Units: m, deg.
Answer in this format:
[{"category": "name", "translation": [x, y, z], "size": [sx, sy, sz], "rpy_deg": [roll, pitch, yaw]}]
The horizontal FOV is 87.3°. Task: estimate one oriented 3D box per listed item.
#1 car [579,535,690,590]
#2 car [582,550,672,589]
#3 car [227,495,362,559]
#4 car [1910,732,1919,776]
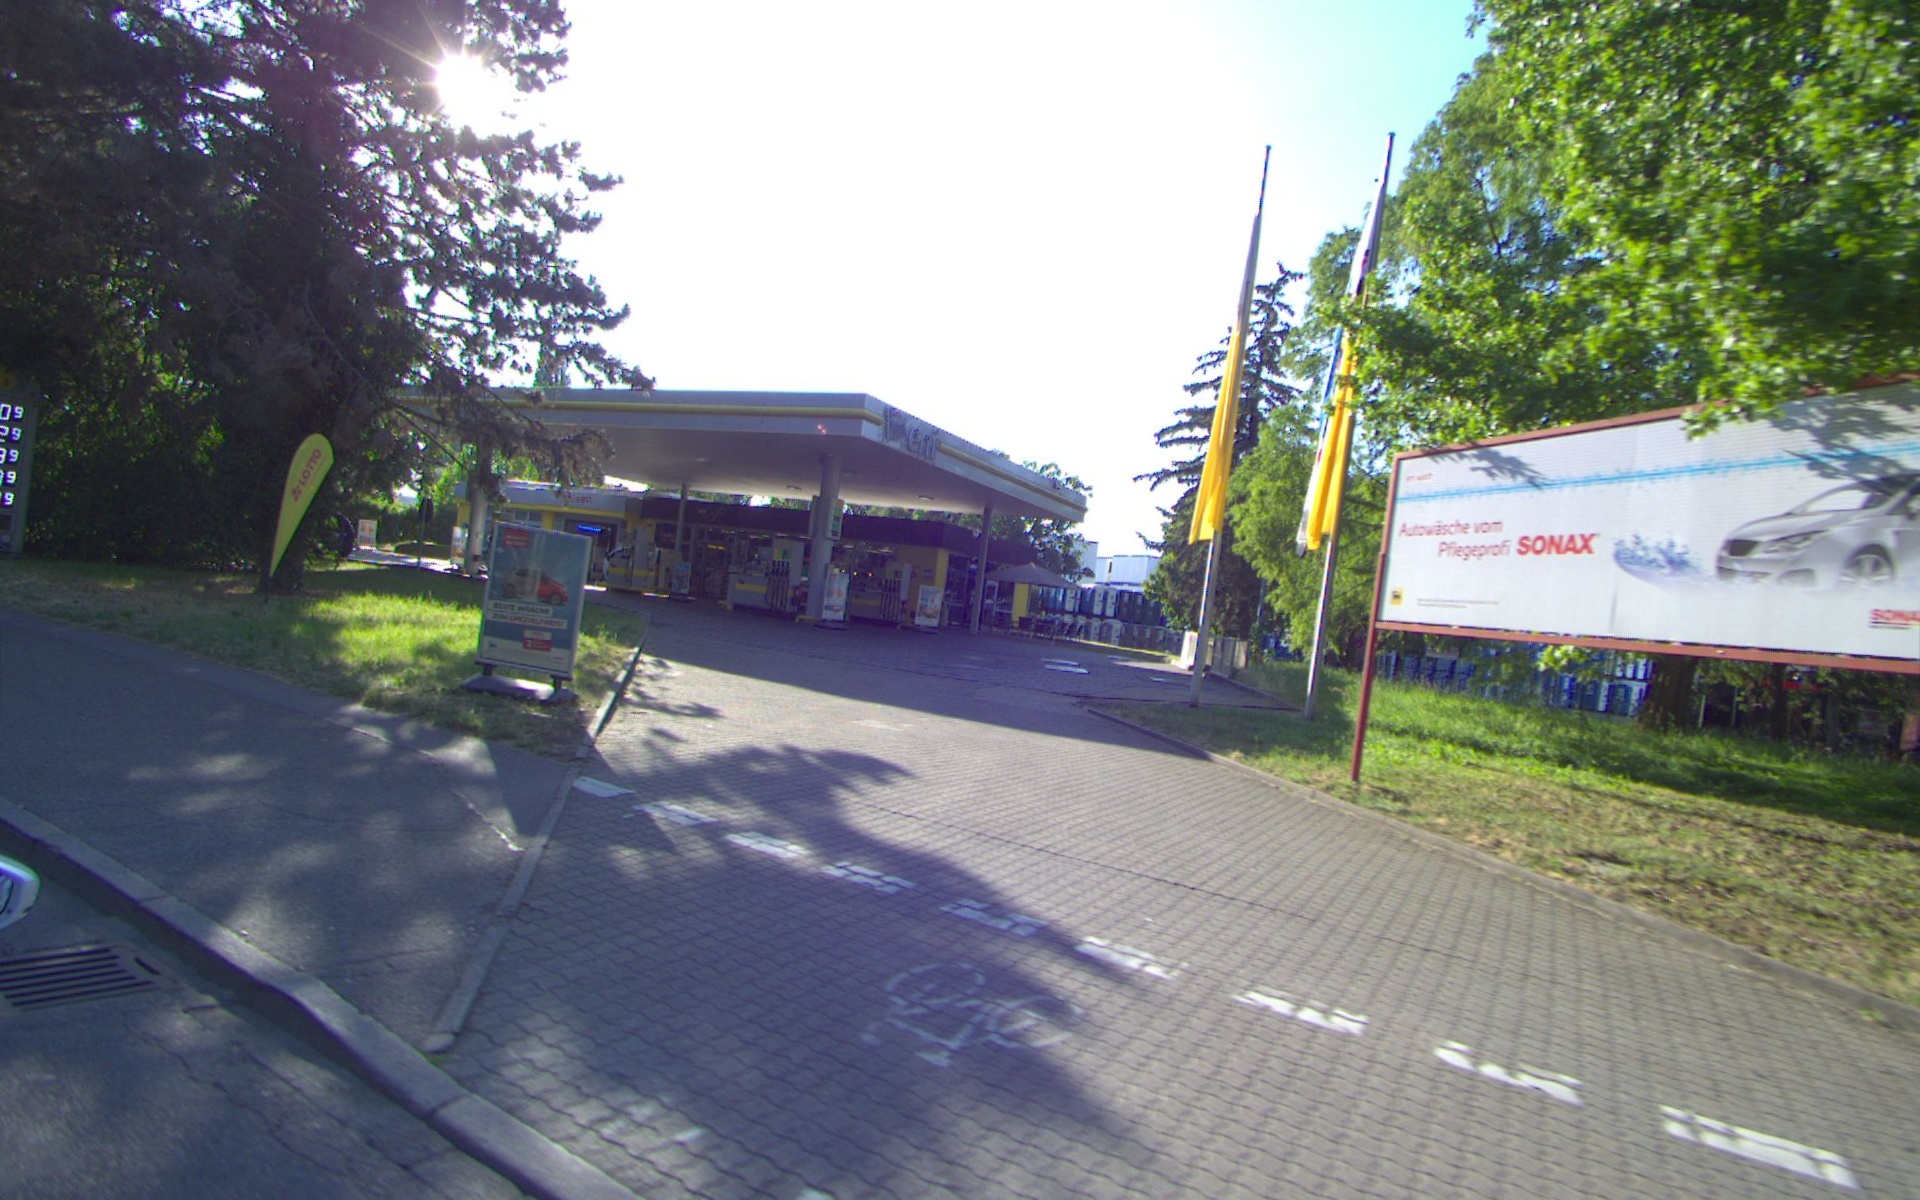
[{"category": "car", "translation": [-13.673, -1.585, 42.236], "size": [4.322, 1.750, 1.815], "rpy_deg": [7, 1, 29]}, {"category": "car", "translation": [-16.471, -1.483, 49.957], "size": [1.854, 1.389, 3.995], "rpy_deg": [8, 0, 27]}, {"category": "car", "translation": [-20.253, -2.233, 30.583], "size": [3.933, 1.437, 1.844], "rpy_deg": [7, 0, 31]}, {"category": "car", "translation": [39.498, 6.308, 38.699], "size": [1.681, 1.707, 3.844], "rpy_deg": [9, -2, -23]}]
